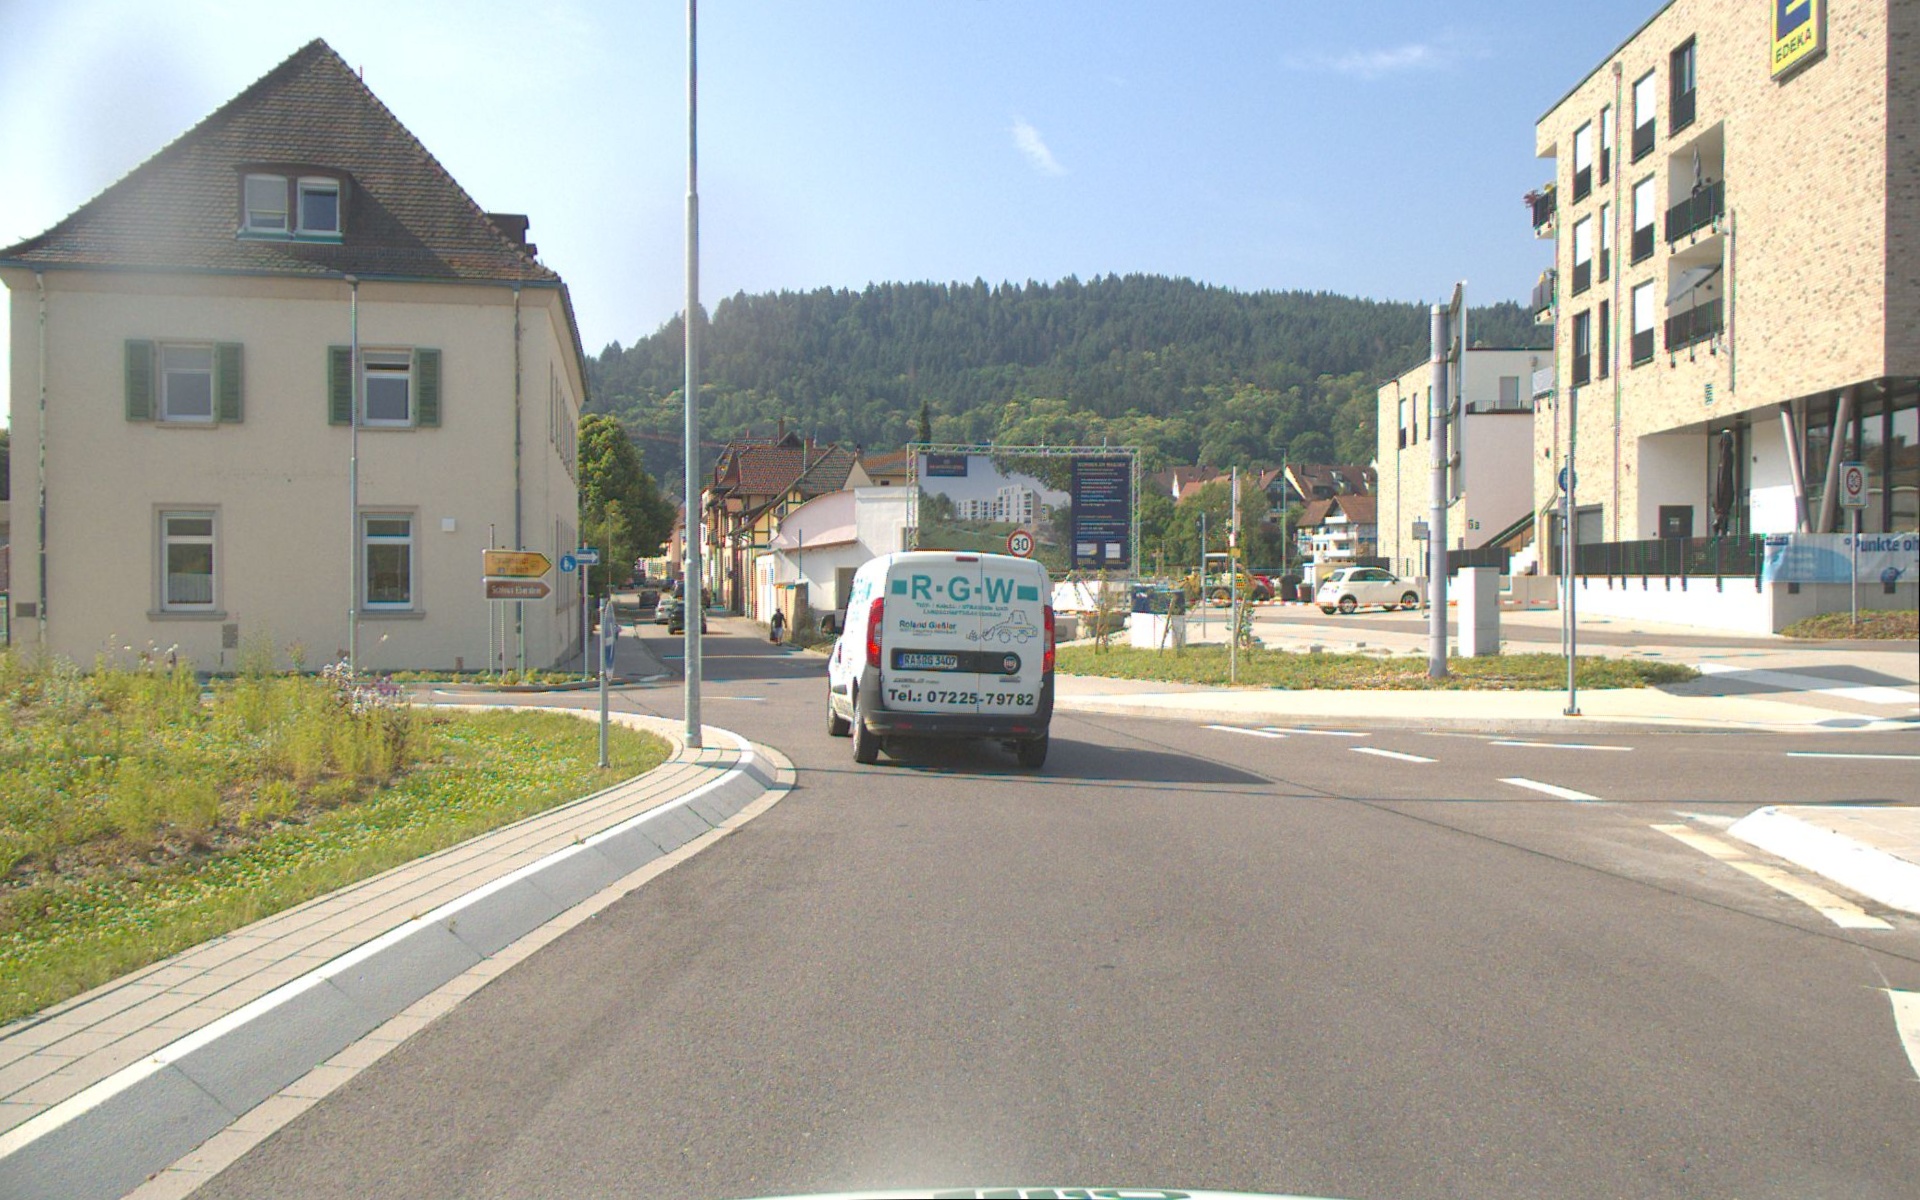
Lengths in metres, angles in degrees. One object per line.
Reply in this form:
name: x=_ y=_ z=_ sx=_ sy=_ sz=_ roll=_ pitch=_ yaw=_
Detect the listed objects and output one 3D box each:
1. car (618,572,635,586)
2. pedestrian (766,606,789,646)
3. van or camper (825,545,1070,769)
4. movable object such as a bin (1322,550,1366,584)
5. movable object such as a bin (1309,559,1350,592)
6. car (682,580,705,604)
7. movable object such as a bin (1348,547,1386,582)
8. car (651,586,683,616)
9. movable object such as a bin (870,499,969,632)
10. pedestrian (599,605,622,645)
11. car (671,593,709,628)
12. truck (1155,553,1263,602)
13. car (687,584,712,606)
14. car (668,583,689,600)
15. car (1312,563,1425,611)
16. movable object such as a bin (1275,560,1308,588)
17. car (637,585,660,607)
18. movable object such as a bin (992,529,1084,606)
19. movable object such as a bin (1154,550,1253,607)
car: x=-42.210 y=-2.647 z=209.327 sx=1.780 sy=1.624 sz=3.911 roll=2 pitch=1 yaw=-15
pedestrian: x=-7.967 y=1.122 z=72.178 sx=0.873 sy=1.712 sz=0.716 roll=2 pitch=-1 yaw=-12
van or camper: x=-0.262 y=0.476 z=16.047 sx=1.794 sy=1.877 sz=4.180 roll=0 pitch=0 yaw=-9
movable object such as a bin: x=17.632 y=-1.517 z=75.987 sx=1.659 sy=1.489 sz=1.320 roll=2 pitch=1 yaw=-2
movable object such as a bin: x=17.427 y=-1.180 z=78.071 sx=1.548 sy=1.489 sz=1.320 roll=2 pitch=1 yaw=-2
car: x=-23.426 y=-0.731 z=145.283 sx=1.838 sy=2.049 sz=3.988 roll=1 pitch=1 yaw=-12
movable object such as a bin: x=17.956 y=-1.551 z=72.938 sx=1.273 sy=1.489 sz=1.320 roll=2 pitch=1 yaw=-2
car: x=-17.605 y=0.057 z=99.305 sx=1.778 sy=1.624 sz=3.917 roll=2 pitch=1 yaw=-11
movable object such as a bin: x=-1.428 y=-1.055 z=53.770 sx=2.252 sy=3.921 sz=7.784 roll=2 pitch=0 yaw=-8
pedestrian: x=-14.613 y=1.038 z=69.150 sx=0.941 sy=1.659 sz=0.756 roll=1 pitch=0 yaw=-12
car: x=-13.867 y=0.516 z=84.695 sx=1.778 sy=1.624 sz=3.917 roll=2 pitch=1 yaw=-11
truck: x=12.641 y=-1.126 z=83.962 sx=5.201 sy=2.305 sz=2.221 roll=-2 pitch=0 yaw=14
car: x=-21.379 y=-0.438 z=135.581 sx=1.778 sy=1.624 sz=3.916 roll=2 pitch=1 yaw=-12
car: x=-27.449 y=-0.816 z=161.218 sx=1.641 sy=1.534 sz=3.986 roll=-1 pitch=1 yaw=-14
car: x=13.774 y=-0.423 z=55.834 sx=3.346 sy=1.521 sz=1.589 roll=-1 pitch=-1 yaw=-13
movable object such as a bin: x=16.103 y=-1.284 z=80.465 sx=1.270 sy=1.290 sz=1.320 roll=2 pitch=1 yaw=-2
car: x=-24.940 y=-0.332 z=132.384 sx=1.778 sy=1.624 sz=3.917 roll=2 pitch=1 yaw=-11
movable object such as a bin: x=4.035 y=-1.624 z=84.410 sx=2.792 sy=3.684 sz=5.734 roll=3 pitch=1 yaw=23
movable object such as a bin: x=11.879 y=-1.056 z=80.611 sx=4.514 sy=2.614 sz=1.927 roll=-2 pitch=0 yaw=14
